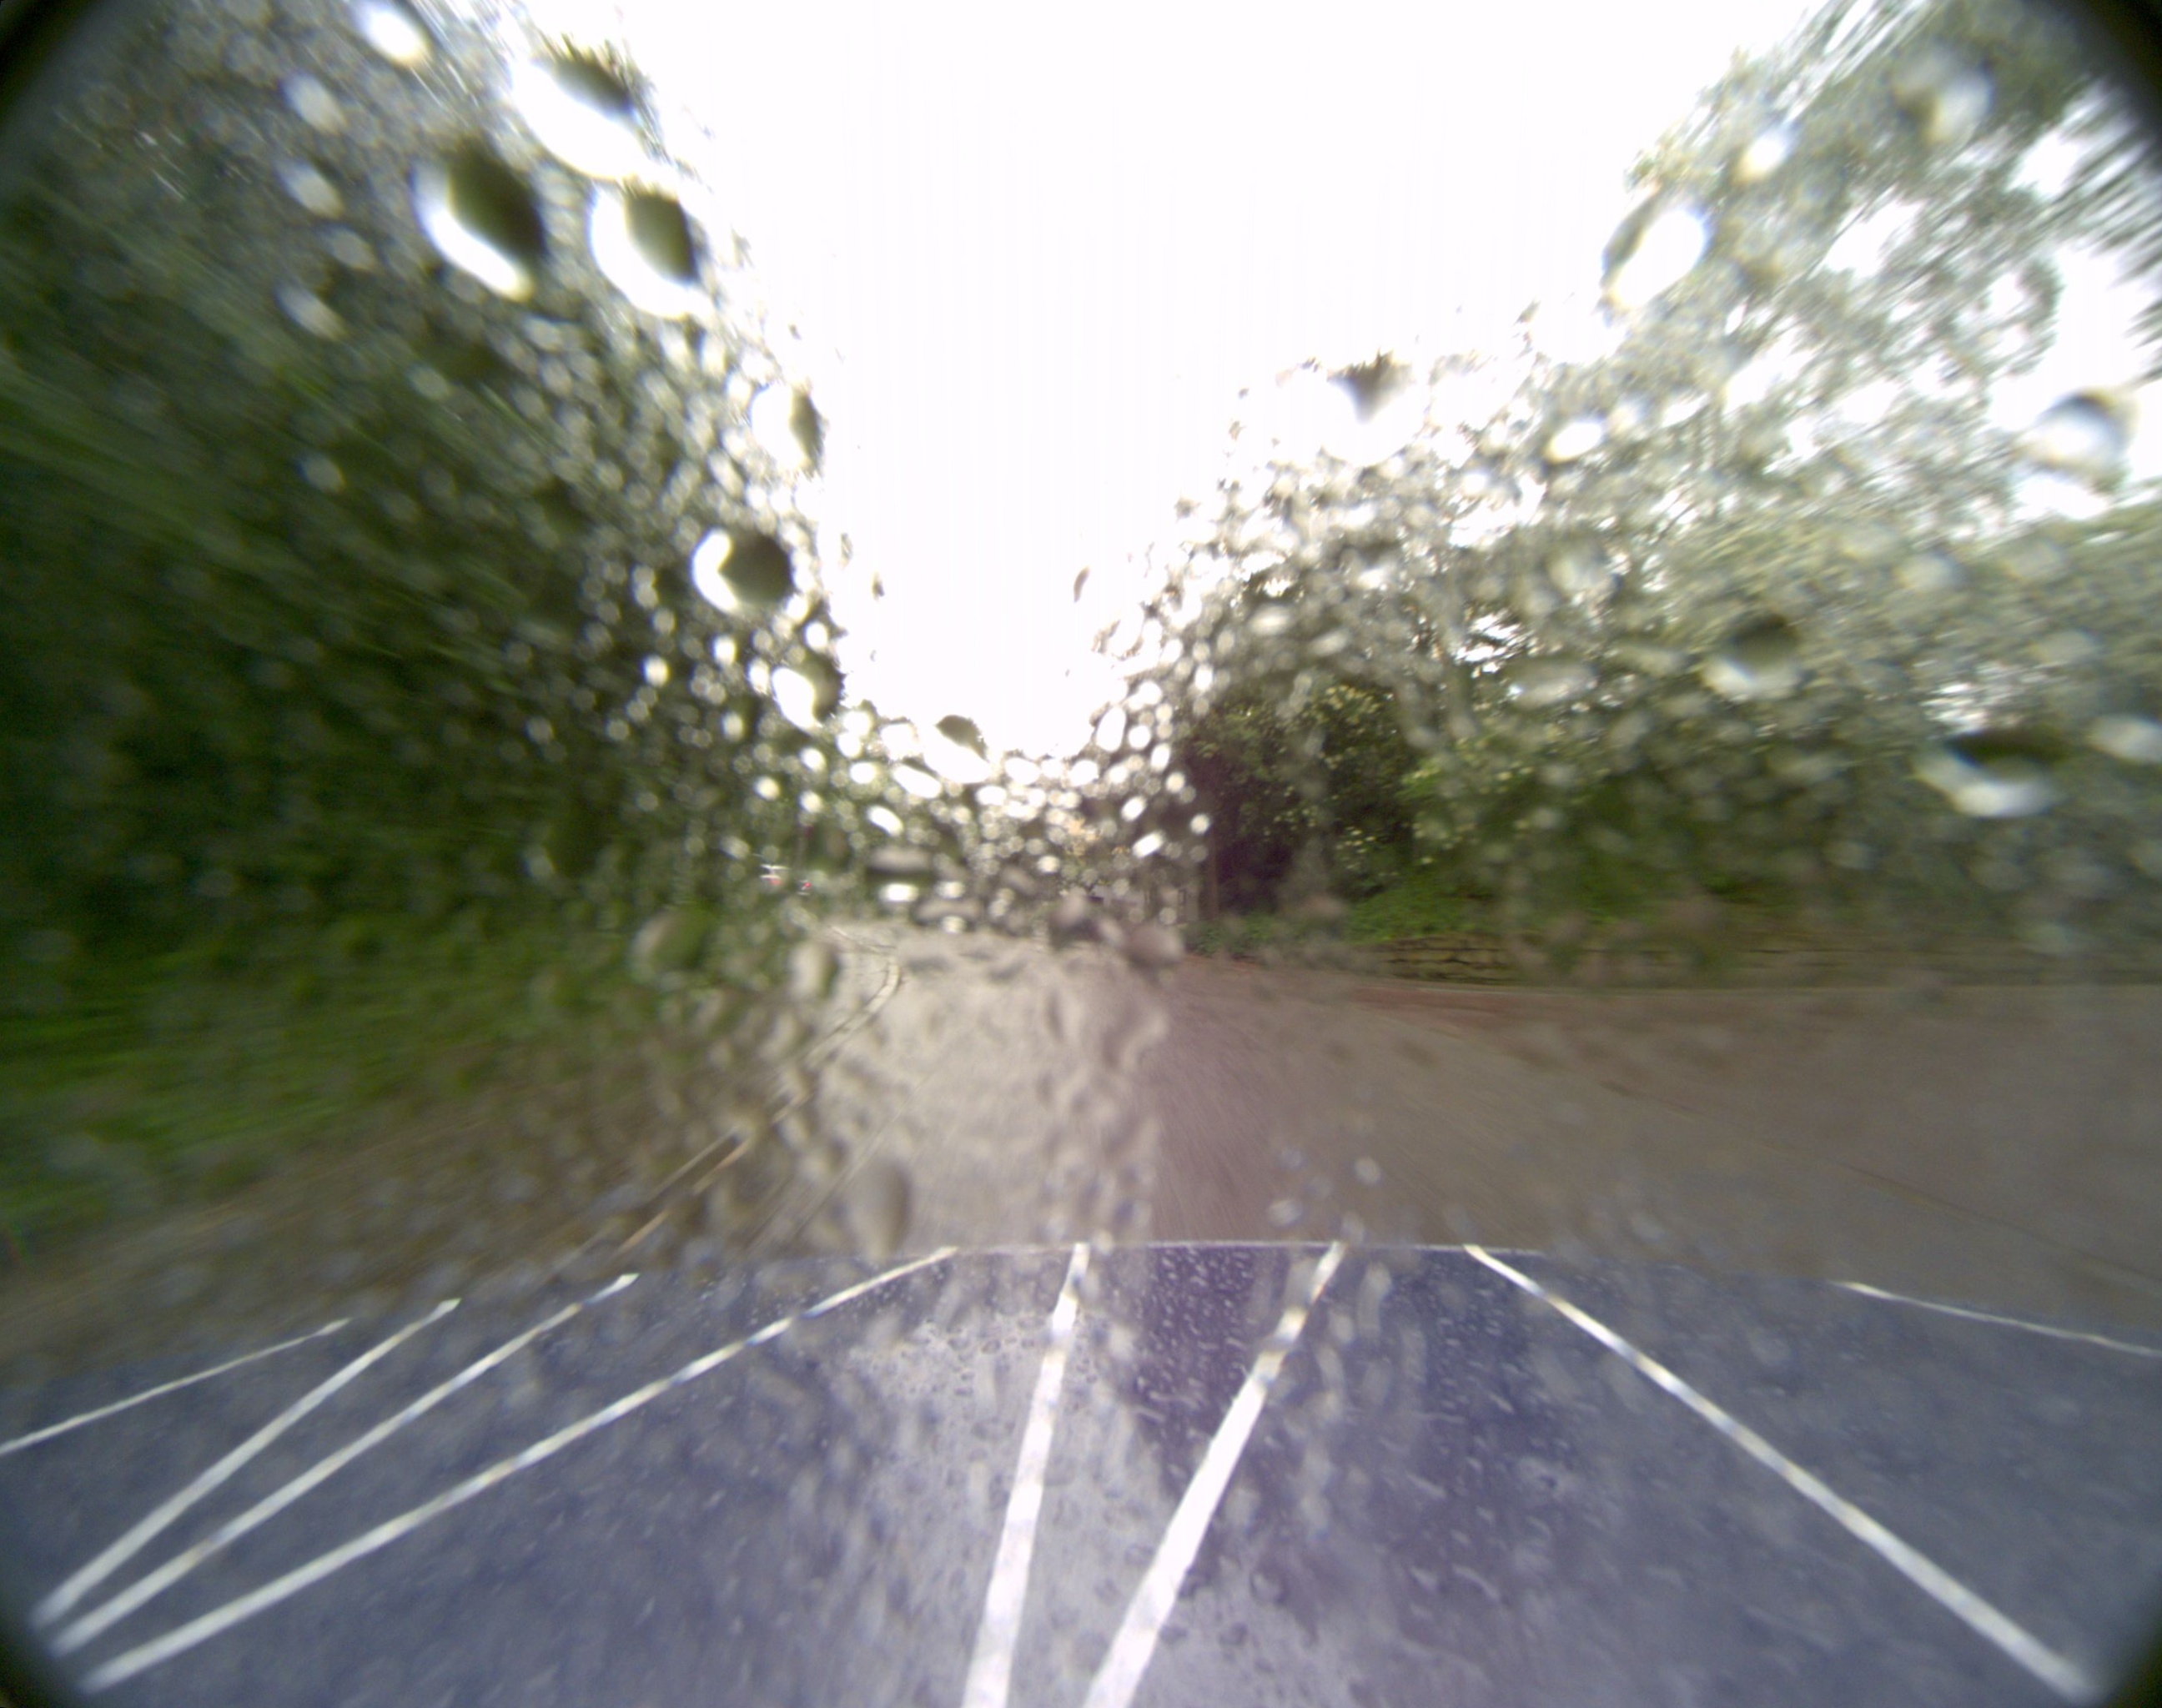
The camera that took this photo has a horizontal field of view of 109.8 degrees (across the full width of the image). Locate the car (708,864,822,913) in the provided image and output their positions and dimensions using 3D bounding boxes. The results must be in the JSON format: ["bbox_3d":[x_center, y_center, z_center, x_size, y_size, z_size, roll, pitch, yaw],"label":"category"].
[{"bbox_3d":[-11.043,1.156,26.466,4.109,1.528,1.682,0,-2,35],"label":"car"}]
